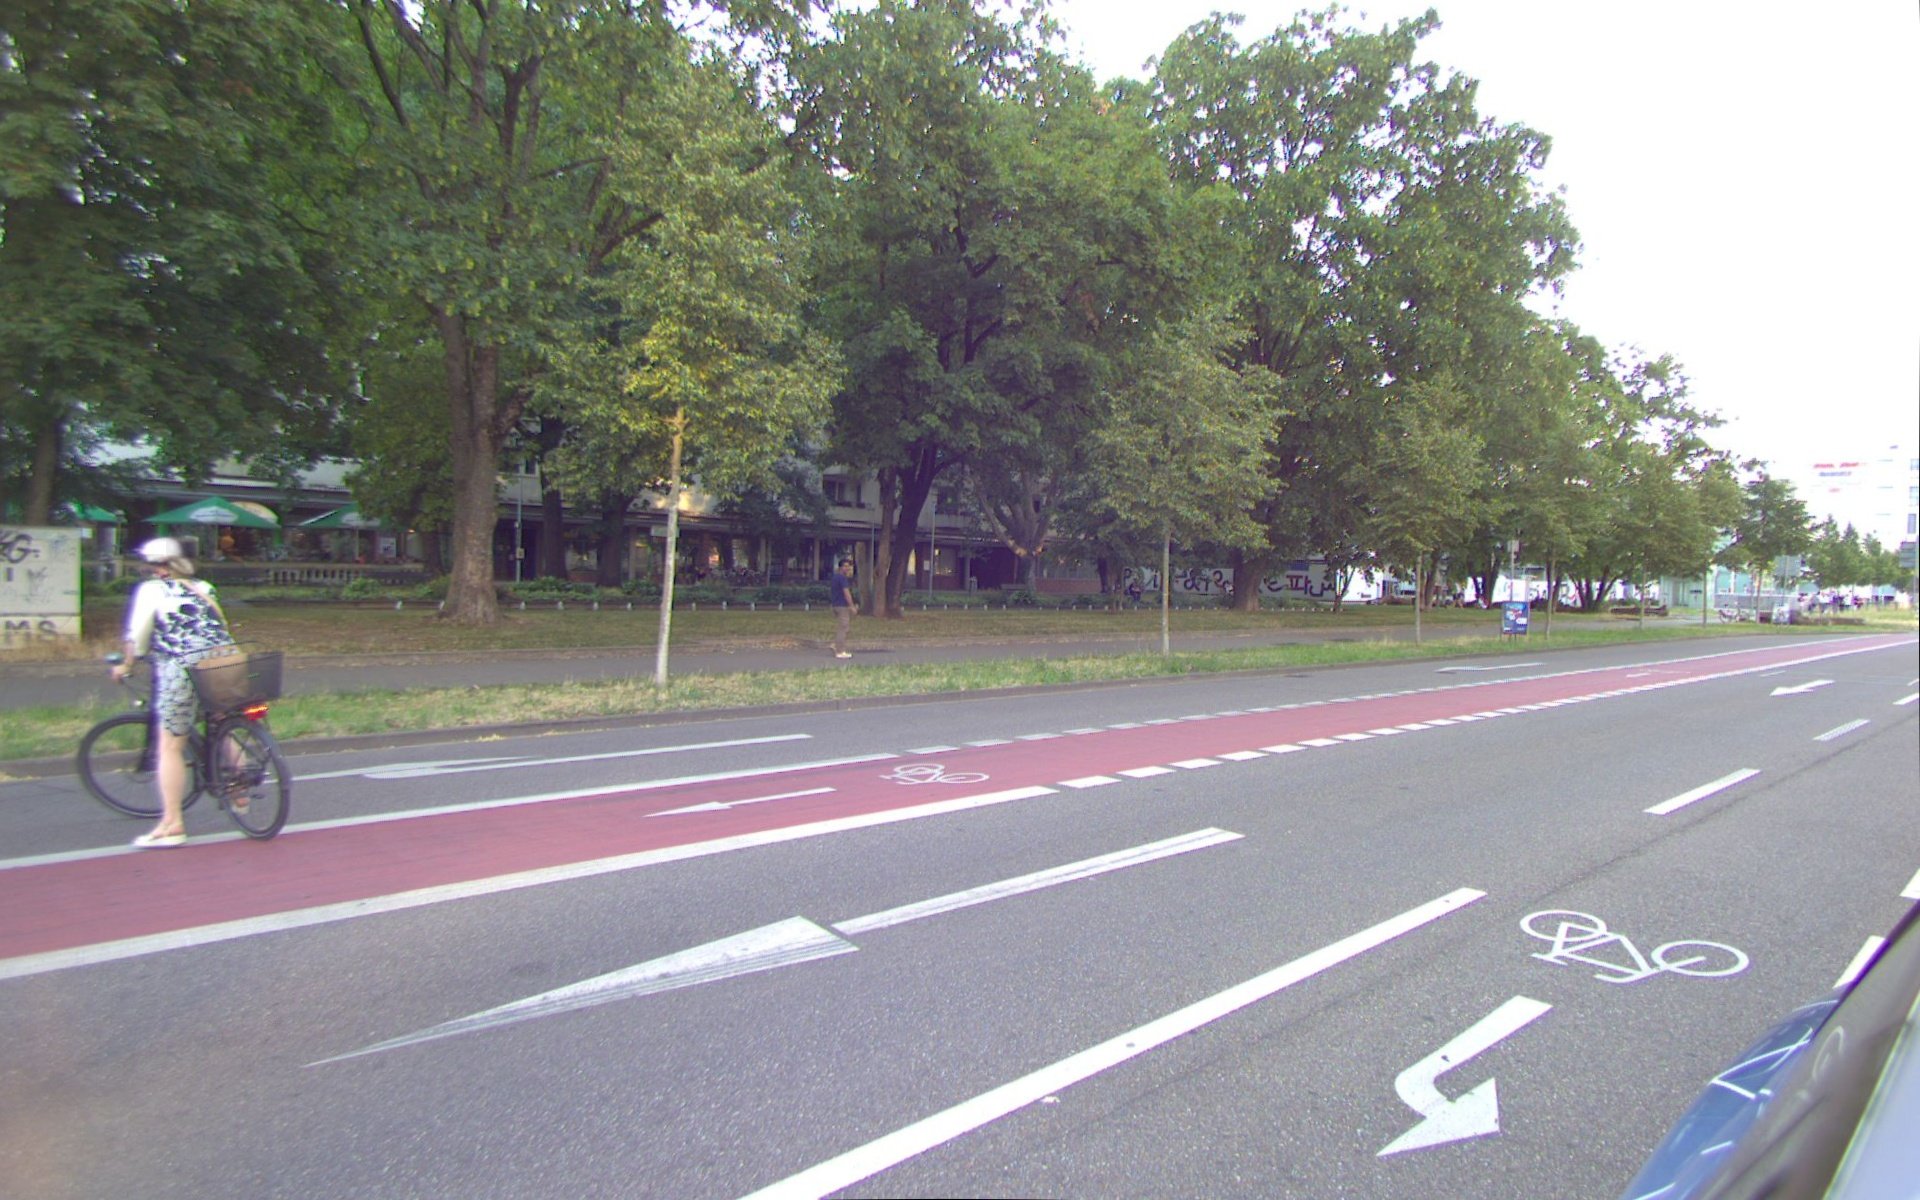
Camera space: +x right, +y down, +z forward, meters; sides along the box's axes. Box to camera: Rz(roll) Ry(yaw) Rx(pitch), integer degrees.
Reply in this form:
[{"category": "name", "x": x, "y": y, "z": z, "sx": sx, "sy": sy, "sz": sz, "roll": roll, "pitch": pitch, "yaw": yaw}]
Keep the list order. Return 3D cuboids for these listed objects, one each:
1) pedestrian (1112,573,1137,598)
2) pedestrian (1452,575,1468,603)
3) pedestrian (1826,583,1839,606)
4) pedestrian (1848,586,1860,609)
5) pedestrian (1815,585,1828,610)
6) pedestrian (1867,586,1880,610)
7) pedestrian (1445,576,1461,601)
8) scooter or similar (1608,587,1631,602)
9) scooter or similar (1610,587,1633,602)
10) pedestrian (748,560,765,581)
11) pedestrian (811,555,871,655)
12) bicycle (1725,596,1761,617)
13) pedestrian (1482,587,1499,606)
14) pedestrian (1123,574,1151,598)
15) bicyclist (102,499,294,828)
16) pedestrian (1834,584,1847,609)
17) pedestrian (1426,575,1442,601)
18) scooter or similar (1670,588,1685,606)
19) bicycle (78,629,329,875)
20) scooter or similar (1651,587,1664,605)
[{"category": "pedestrian", "x": 8.773, "y": -0.766, "z": 53.950, "sx": 0.712, "sy": 1.276, "sz": 1.135, "roll": 1, "pitch": 2, "yaw": -38}, {"category": "pedestrian", "x": 36.135, "y": -0.808, "z": 73.092, "sx": 0.587, "sy": 1.943, "sz": 0.771, "roll": 1, "pitch": 1, "yaw": -25}, {"category": "pedestrian", "x": 73.789, "y": -0.457, "z": 85.558, "sx": 0.608, "sy": 1.957, "sz": 0.644, "roll": 1, "pitch": 2, "yaw": -38}, {"category": "pedestrian", "x": 76.139, "y": -0.200, "z": 86.202, "sx": 0.608, "sy": 1.957, "sz": 0.644, "roll": 1, "pitch": 2, "yaw": -38}, {"category": "pedestrian", "x": 70.581, "y": -0.211, "z": 82.954, "sx": 0.608, "sy": 1.957, "sz": 0.644, "roll": 1, "pitch": 2, "yaw": -38}, {"category": "pedestrian", "x": 76.939, "y": -0.158, "z": 85.259, "sx": 0.608, "sy": 1.957, "sz": 0.644, "roll": 1, "pitch": 2, "yaw": -38}, {"category": "pedestrian", "x": 36.418, "y": -0.846, "z": 74.776, "sx": 0.587, "sy": 1.843, "sz": 0.771, "roll": 1, "pitch": 1, "yaw": -25}, {"category": "scooter or similar", "x": 54.795, "y": -0.444, "z": 84.078, "sx": 0.466, "sy": 1.236, "sz": 1.571, "roll": 0, "pitch": 1, "yaw": -42}, {"category": "scooter or similar", "x": 55.357, "y": -0.461, "z": 84.657, "sx": 0.466, "sy": 1.236, "sz": 1.571, "roll": 0, "pitch": 1, "yaw": -42}, {"category": "pedestrian", "x": -11.881, "y": -1.706, "z": 59.020, "sx": 0.687, "sy": 1.178, "sz": 0.788, "roll": 1, "pitch": 2, "yaw": -38}, {"category": "pedestrian", "x": -2.091, "y": 0.072, "z": 17.766, "sx": 0.736, "sy": 1.714, "sz": 0.696, "roll": 0, "pitch": 2, "yaw": -43}, {"category": "bicycle", "x": 40.688, "y": 0.342, "z": 52.590, "sx": 1.858, "sy": 1.017, "sz": 0.497, "roll": 2, "pitch": 4, "yaw": -21}, {"category": "pedestrian", "x": 26.427, "y": -0.190, "z": 50.438, "sx": 0.674, "sy": 0.895, "sz": 0.588, "roll": 2, "pitch": 2, "yaw": 25}, {"category": "pedestrian", "x": 9.542, "y": -0.751, "z": 54.485, "sx": 0.889, "sy": 1.276, "sz": 1.135, "roll": 0, "pitch": 2, "yaw": -38}, {"category": "bicyclist", "x": -4.352, "y": 0.314, "z": 5.783, "sx": 0.744, "sy": 1.714, "sz": 0.706, "roll": 3, "pitch": 2, "yaw": 38}, {"category": "pedestrian", "x": 71.413, "y": -0.274, "z": 82.103, "sx": 0.608, "sy": 1.957, "sz": 0.644, "roll": 1, "pitch": 2, "yaw": -38}, {"category": "pedestrian", "x": 35.193, "y": -0.920, "z": 75.126, "sx": 0.587, "sy": 1.879, "sz": 0.771, "roll": 1, "pitch": 1, "yaw": -25}, {"category": "scooter or similar", "x": 50.364, "y": -0.227, "z": 71.022, "sx": 1.374, "sy": 1.235, "sz": 0.425, "roll": 1, "pitch": 4, "yaw": -40}, {"category": "bicycle", "x": -4.403, "y": 0.761, "z": 5.827, "sx": 2.012, "sy": 1.082, "sz": 0.720, "roll": 2, "pitch": 1, "yaw": 40}, {"category": "scooter or similar", "x": 49.556, "y": -0.265, "z": 71.871, "sx": 0.473, "sy": 1.235, "sz": 1.550, "roll": 6, "pitch": 4, "yaw": 43}]
